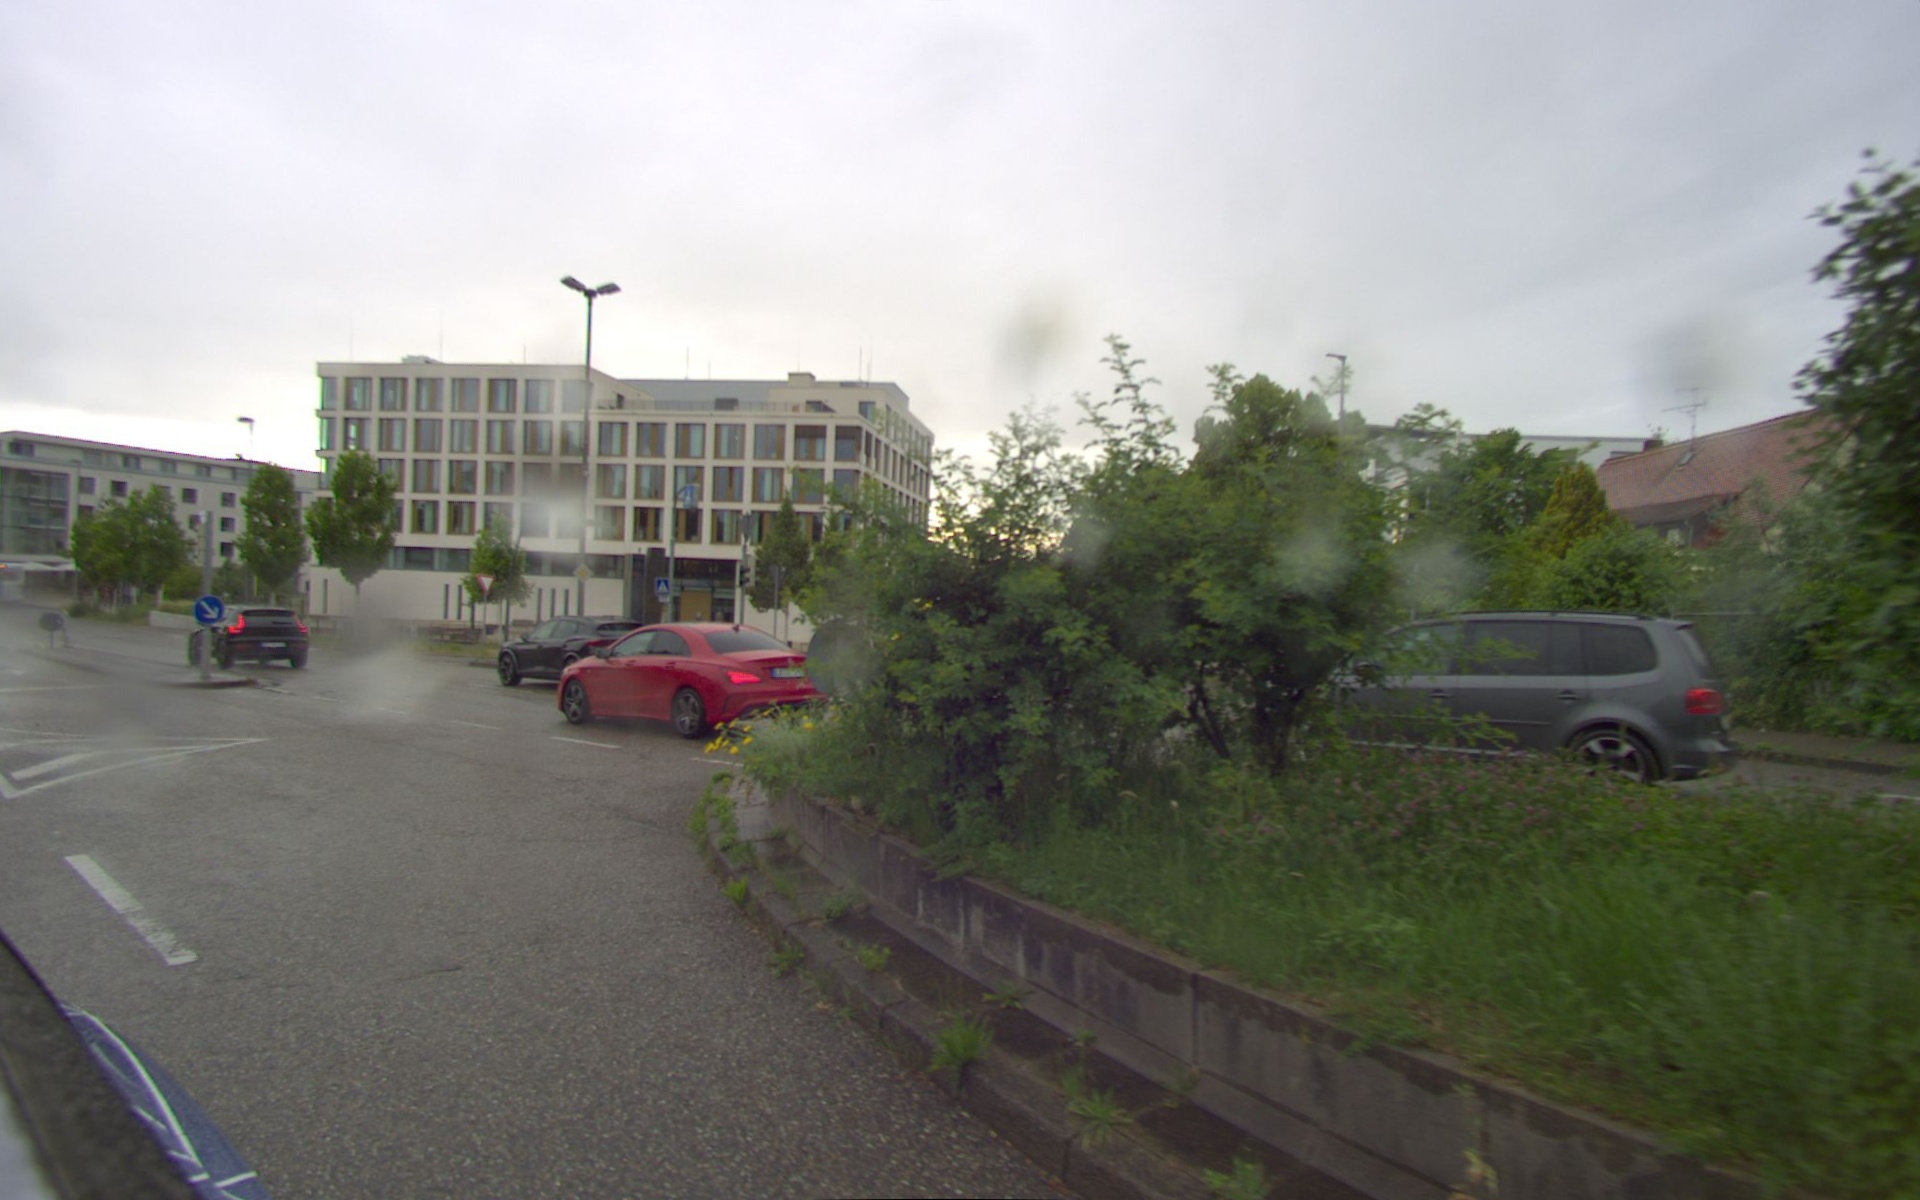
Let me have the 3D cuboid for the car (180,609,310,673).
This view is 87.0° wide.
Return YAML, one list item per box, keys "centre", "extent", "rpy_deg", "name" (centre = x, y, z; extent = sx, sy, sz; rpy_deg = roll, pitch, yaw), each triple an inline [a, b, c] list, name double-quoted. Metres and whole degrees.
- centre: [-18.992, 1.043, 26.818]
  extent: [4.073, 1.564, 1.883]
  rpy_deg: [0, -2, 41]
  name: "car"

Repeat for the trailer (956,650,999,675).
- centre: [0.777, 2.706, 43.840]
  extent: [1.590, 0.986, 2.280]
  rpy_deg: [2, -2, 8]
  name: "trailer"

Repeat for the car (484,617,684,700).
- centre: [-7.847, 1.170, 20.986]
  extent: [4.291, 1.489, 1.931]
  rpy_deg: [0, -3, 39]
  name: "car"

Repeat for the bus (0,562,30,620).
- centre: [-75.176, -0.721, 76.900]
  extent: [18.192, 4.025, 2.917]
  rpy_deg: [1, -2, 36]
  name: "bus"

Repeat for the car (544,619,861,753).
- centre: [-3.587, 1.018, 13.645]
  extent: [4.429, 1.424, 1.973]
  rpy_deg: [0, -1, 41]
  name: "car"

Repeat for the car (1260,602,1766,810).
- centre: [5.224, 0.864, 9.822]
  extent: [3.998, 1.590, 1.973]
  rpy_deg: [-1, -2, 41]
  name: "car"

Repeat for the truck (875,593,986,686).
- centre: [-0.776, 1.252, 31.899]
  extent: [2.204, 2.557, 6.154]
  rpy_deg: [2, -2, 11]
  name: "truck"
